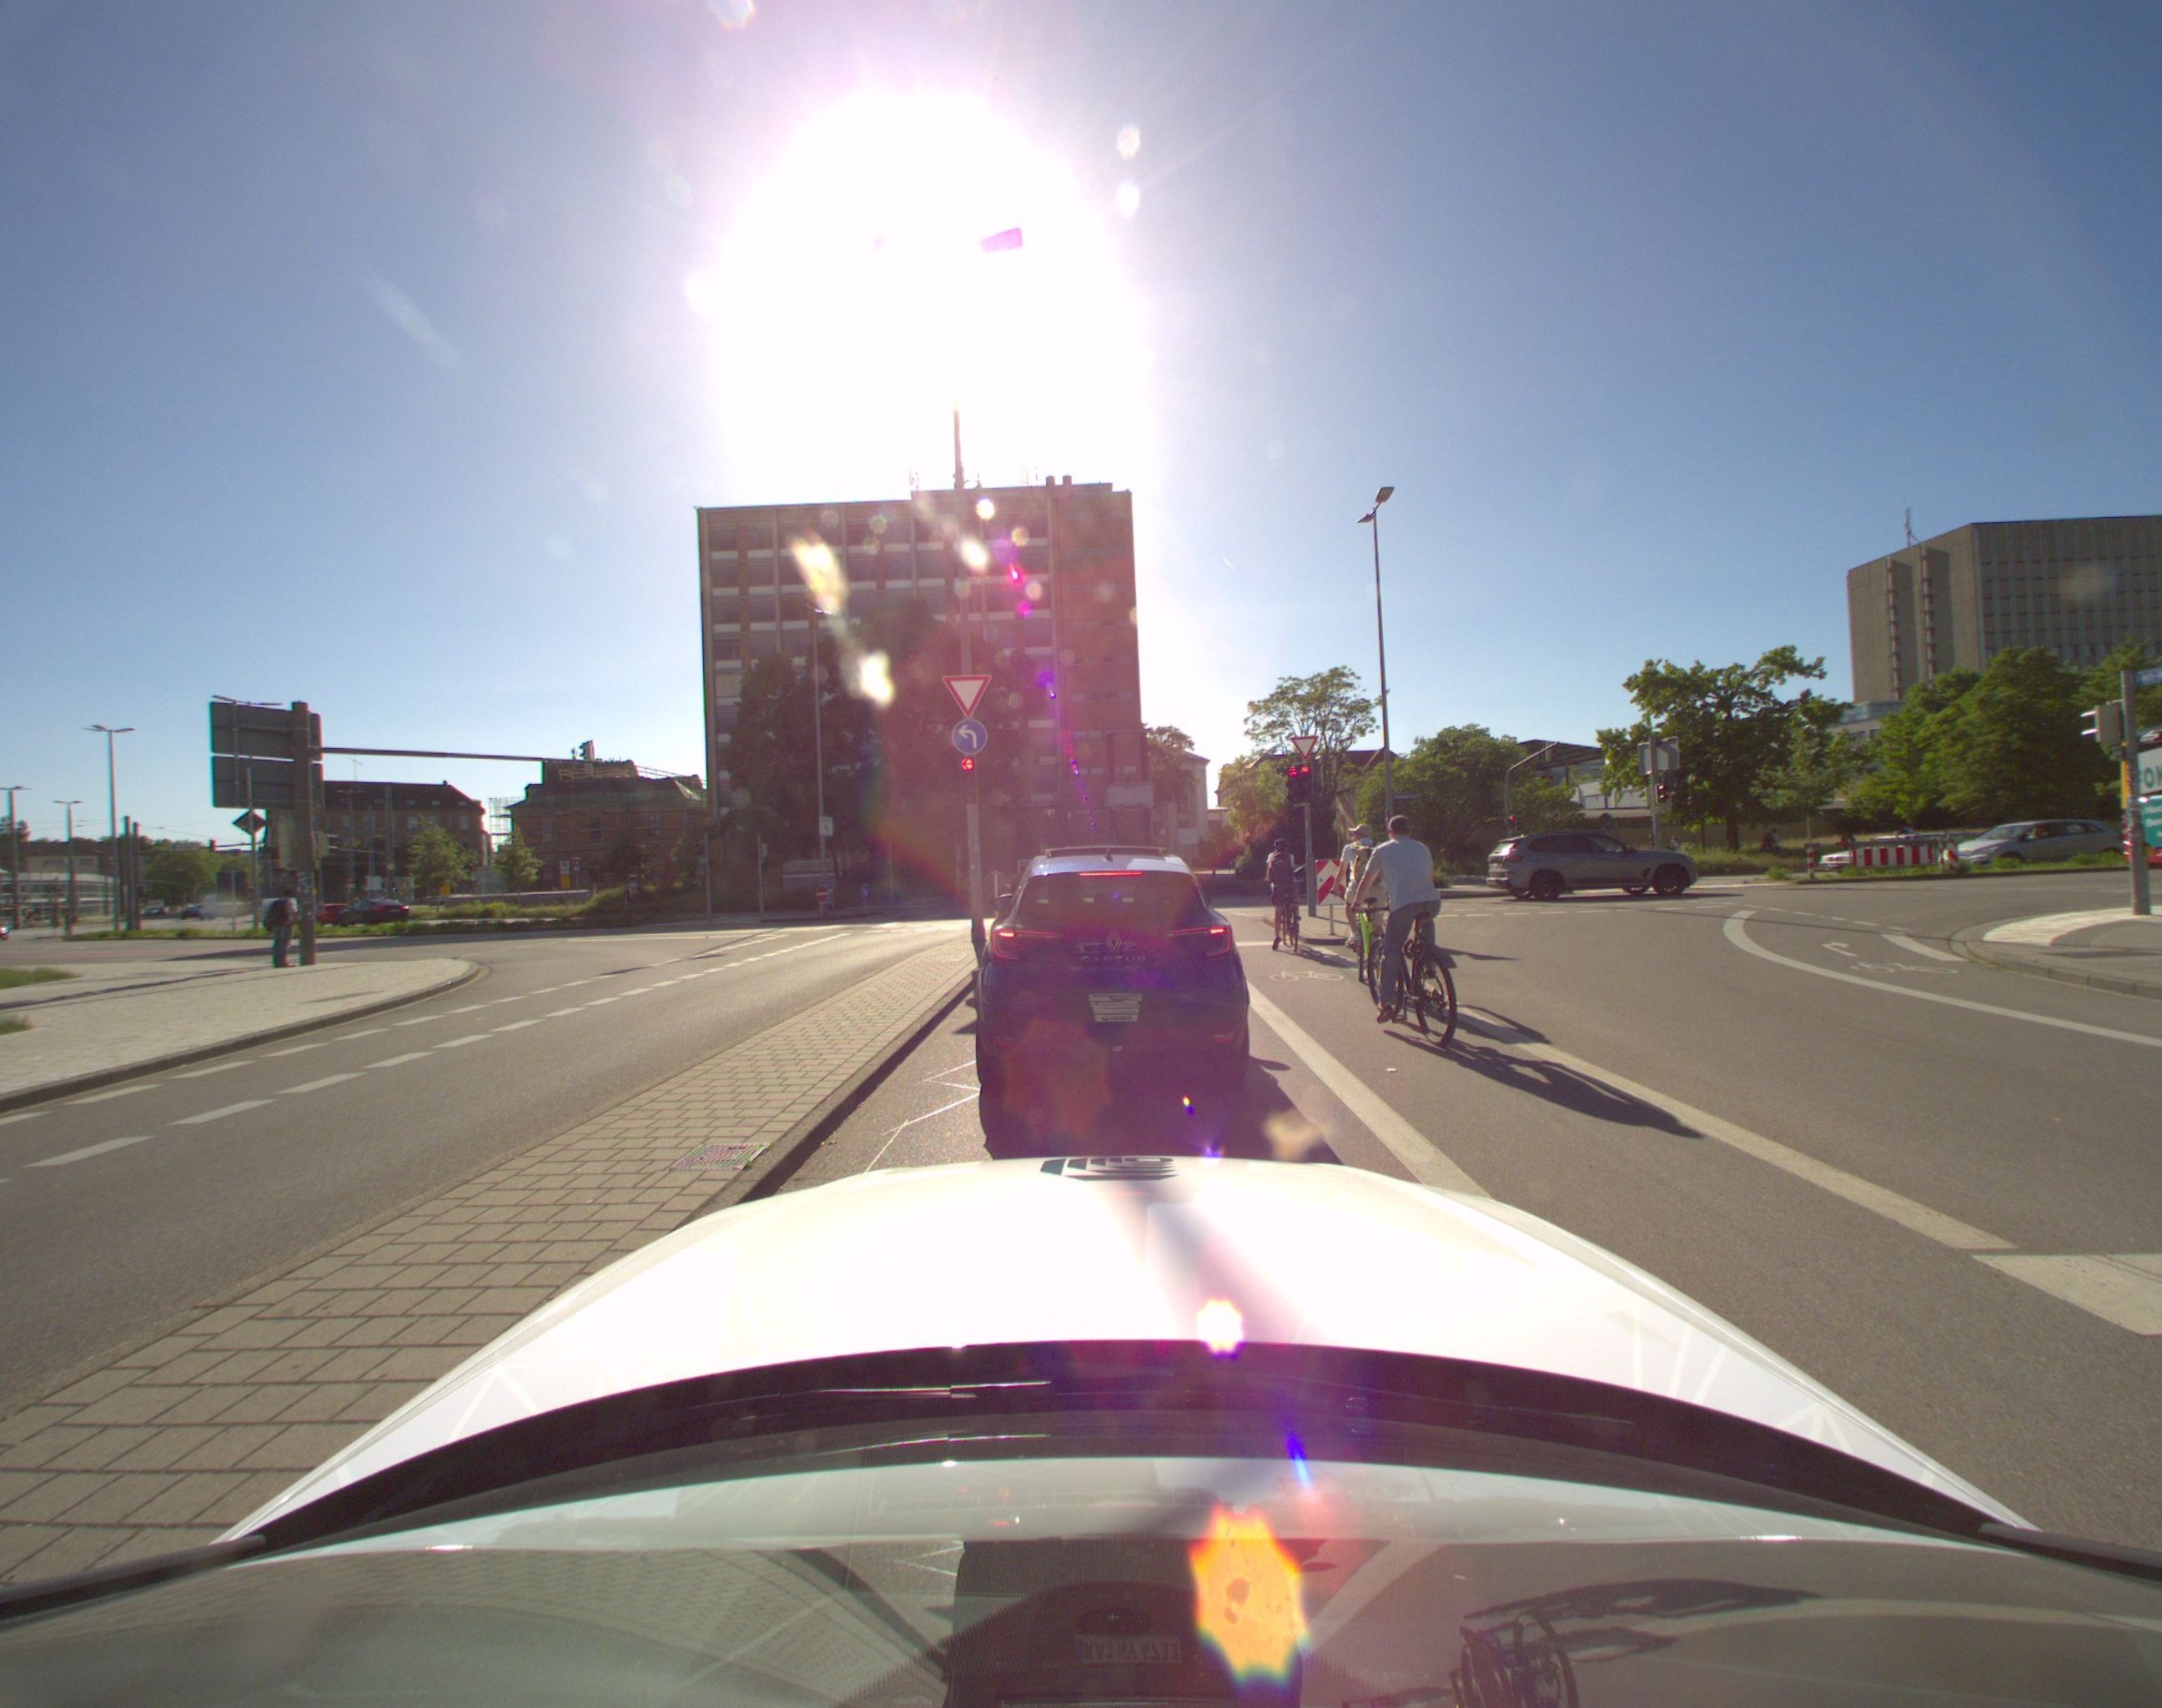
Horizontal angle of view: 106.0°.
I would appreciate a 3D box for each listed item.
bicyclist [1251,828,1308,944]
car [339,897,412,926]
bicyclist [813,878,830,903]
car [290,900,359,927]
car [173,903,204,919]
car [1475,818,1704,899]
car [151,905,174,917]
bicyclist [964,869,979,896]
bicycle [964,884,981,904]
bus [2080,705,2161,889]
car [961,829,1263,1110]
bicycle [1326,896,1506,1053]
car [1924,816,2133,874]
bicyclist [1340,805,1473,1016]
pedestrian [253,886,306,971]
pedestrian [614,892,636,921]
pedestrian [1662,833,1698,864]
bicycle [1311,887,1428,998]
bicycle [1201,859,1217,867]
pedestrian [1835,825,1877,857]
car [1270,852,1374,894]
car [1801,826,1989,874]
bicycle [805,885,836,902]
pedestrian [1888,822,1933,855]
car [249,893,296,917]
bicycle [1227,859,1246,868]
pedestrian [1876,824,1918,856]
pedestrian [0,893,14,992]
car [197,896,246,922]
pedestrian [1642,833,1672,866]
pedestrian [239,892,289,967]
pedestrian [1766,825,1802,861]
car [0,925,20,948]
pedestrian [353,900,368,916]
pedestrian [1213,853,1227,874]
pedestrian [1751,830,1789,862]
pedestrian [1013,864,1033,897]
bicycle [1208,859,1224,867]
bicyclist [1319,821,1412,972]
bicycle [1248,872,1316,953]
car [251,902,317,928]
[{"bbox_3d":[3.172,0.501,13.058,0.674,1.785,0.939,-1,-1,0],"label":"bicyclist"},{"bbox_3d":[-42.393,3.458,48.907,3.771,1.518,2.012,-3,-1,27],"label":"car"},{"bbox_3d":[-15.706,2.211,49.305,0.630,1.412,0.653,-3,-1,26],"label":"bicyclist"},{"bbox_3d":[-47.966,3.786,51.641,3.771,1.518,2.012,-3,-1,27],"label":"car"},{"bbox_3d":[-102.884,6.557,93.893,4.795,1.582,2.115,-3,0,40],"label":"car"},{"bbox_3d":[13.293,0.128,21.596,4.697,1.861,2.011,-3,-1,10],"label":"car"},{"bbox_3d":[-150.025,9.337,133.035,2.011,1.673,3.952,-2,-1,-41],"label":"car"},{"bbox_3d":[-5.938,1.570,44.131,0.648,1.412,0.635,-2,-3,-14],"label":"bicyclist"},{"bbox_3d":[-5.892,2.176,43.999,0.699,1.007,1.859,-3,-3,-13],"label":"bicycle"},{"bbox_3d":[27.029,-1.346,14.285,12.328,3.570,3.264,-2,0,16],"label":"bus"},{"bbox_3d":[0.218,0.686,6.797,1.788,1.655,3.853,-1,0,1],"label":"car"},{"bbox_3d":[2.786,0.950,7.034,0.745,1.050,1.903,-3,0,1],"label":"bicycle"},{"bbox_3d":[30.110,-0.274,26.005,4.103,1.606,1.915,-2,0,7],"label":"car"},{"bbox_3d":[2.758,0.454,6.992,0.737,1.674,0.865,-2,-1,0],"label":"bicyclist"},{"bbox_3d":[-18.184,1.675,18.482,0.673,1.855,0.608,-3,-1,25],"label":"pedestrian"},{"bbox_3d":[-32.805,3.767,58.639,0.816,2.013,1.021,-3,-1,26],"label":"pedestrian"},{"bbox_3d":[29.752,-0.270,40.469,1.078,1.521,0.933,-2,-1,11],"label":"pedestrian"},{"bbox_3d":[3.151,0.924,9.085,0.669,1.050,1.844,0,0,1],"label":"bicycle"},{"bbox_3d":[15.550,1.113,99.016,1.764,0.893,0.766,-2,-1,2],"label":"bicycle"},{"bbox_3d":[38.412,-0.619,40.385,1.140,1.521,0.944,-2,-1,7],"label":"pedestrian"},{"bbox_3d":[9.936,0.784,33.825,3.960,1.570,1.842,-3,-1,12],"label":"car"},{"bbox_3d":[30.820,-0.137,30.983,4.835,1.593,1.943,-3,-1,8],"label":"car"},{"bbox_3d":[-15.788,2.420,49.347,1.848,0.958,0.627,-3,-1,26],"label":"bicycle"},{"bbox_3d":[40.376,-0.748,39.667,1.123,1.521,0.992,-2,-1,5],"label":"pedestrian"},{"bbox_3d":[-73.930,4.663,74.431,4.950,2.013,2.086,-3,-1,34],"label":"car"},{"bbox_3d":[15.804,0.949,82.834,1.770,0.823,0.763,-2,-1,-9],"label":"bicycle"},{"bbox_3d":[40.394,-0.689,40.324,1.138,1.521,0.880,-2,-1,5],"label":"pedestrian"},{"bbox_3d":[-20.719,1.680,15.204,0.855,1.845,0.847,-3,-1,43],"label":"pedestrian"},{"bbox_3d":[-92.893,5.878,87.944,6.867,2.547,3.032,-3,-1,39],"label":"car"},{"bbox_3d":[29.536,-0.231,41.776,0.974,1.604,0.830,-3,-1,15],"label":"pedestrian"},{"bbox_3d":[-19.243,1.774,19.182,0.627,1.697,0.608,-3,-1,25],"label":"pedestrian"},{"bbox_3d":[34.872,-0.549,40.430,0.957,1.732,0.928,-2,-1,10],"label":"pedestrian"},{"bbox_3d":[-69.816,5.326,51.832,3.950,1.389,2.012,-4,-1,26],"label":"car"},{"bbox_3d":[-91.473,6.842,103.423,1.078,2.013,1.282,-3,-1,44],"label":"pedestrian"},{"bbox_3d":[13.609,0.905,79.617,1.152,2.013,1.165,-2,-1,2],"label":"pedestrian"},{"bbox_3d":[33.561,-0.396,39.685,1.069,1.521,0.880,-2,-1,6],"label":"pedestrian"},{"bbox_3d":[-3.425,1.552,48.092,0.926,1.855,0.809,-3,-1,11],"label":"pedestrian"},{"bbox_3d":[15.695,1.059,94.645,1.764,0.898,0.766,-2,-1,2],"label":"bicycle"},{"bbox_3d":[3.143,0.447,9.092,0.672,1.583,1.081,0,0,1],"label":"bicyclist"},{"bbox_3d":[3.154,0.879,12.913,0.613,1.138,1.826,-2,0,0],"label":"bicycle"},{"bbox_3d":[-53.585,4.095,54.756,3.771,1.518,2.012,-3,-1,27],"label":"car"}]
